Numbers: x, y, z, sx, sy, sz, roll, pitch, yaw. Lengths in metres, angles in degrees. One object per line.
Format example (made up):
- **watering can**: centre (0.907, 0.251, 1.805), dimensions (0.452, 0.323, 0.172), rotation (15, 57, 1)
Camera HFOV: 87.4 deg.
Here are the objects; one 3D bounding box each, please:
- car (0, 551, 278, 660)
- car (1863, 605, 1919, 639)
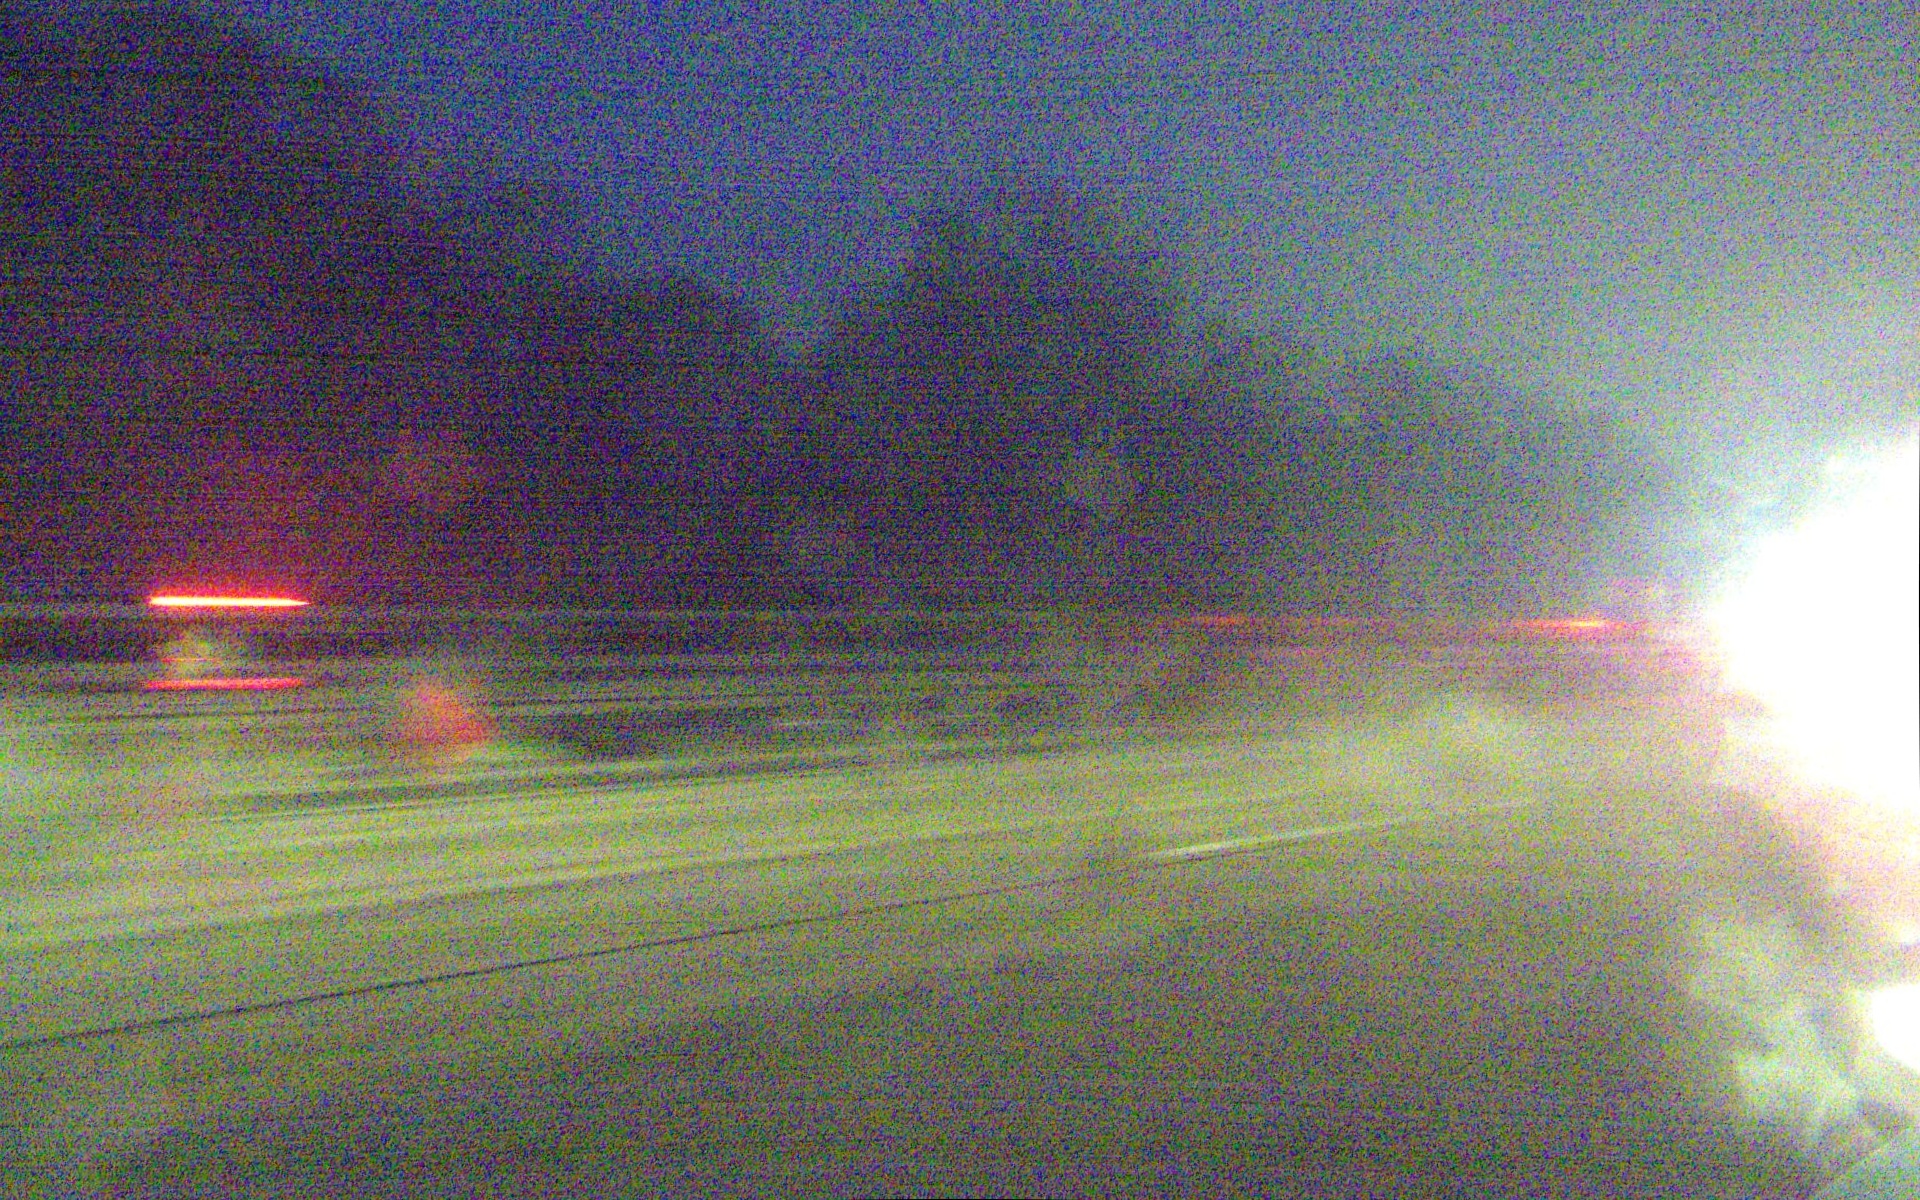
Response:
- **car**: centre (-11.627, 0.093, 14.183), dimensions (3.208, 1.360, 1.594), rotation (2, 2, -33)
- **car**: centre (59.016, 1.402, 63.361), dimensions (4.761, 2.040, 1.981), rotation (2, 1, -34)
